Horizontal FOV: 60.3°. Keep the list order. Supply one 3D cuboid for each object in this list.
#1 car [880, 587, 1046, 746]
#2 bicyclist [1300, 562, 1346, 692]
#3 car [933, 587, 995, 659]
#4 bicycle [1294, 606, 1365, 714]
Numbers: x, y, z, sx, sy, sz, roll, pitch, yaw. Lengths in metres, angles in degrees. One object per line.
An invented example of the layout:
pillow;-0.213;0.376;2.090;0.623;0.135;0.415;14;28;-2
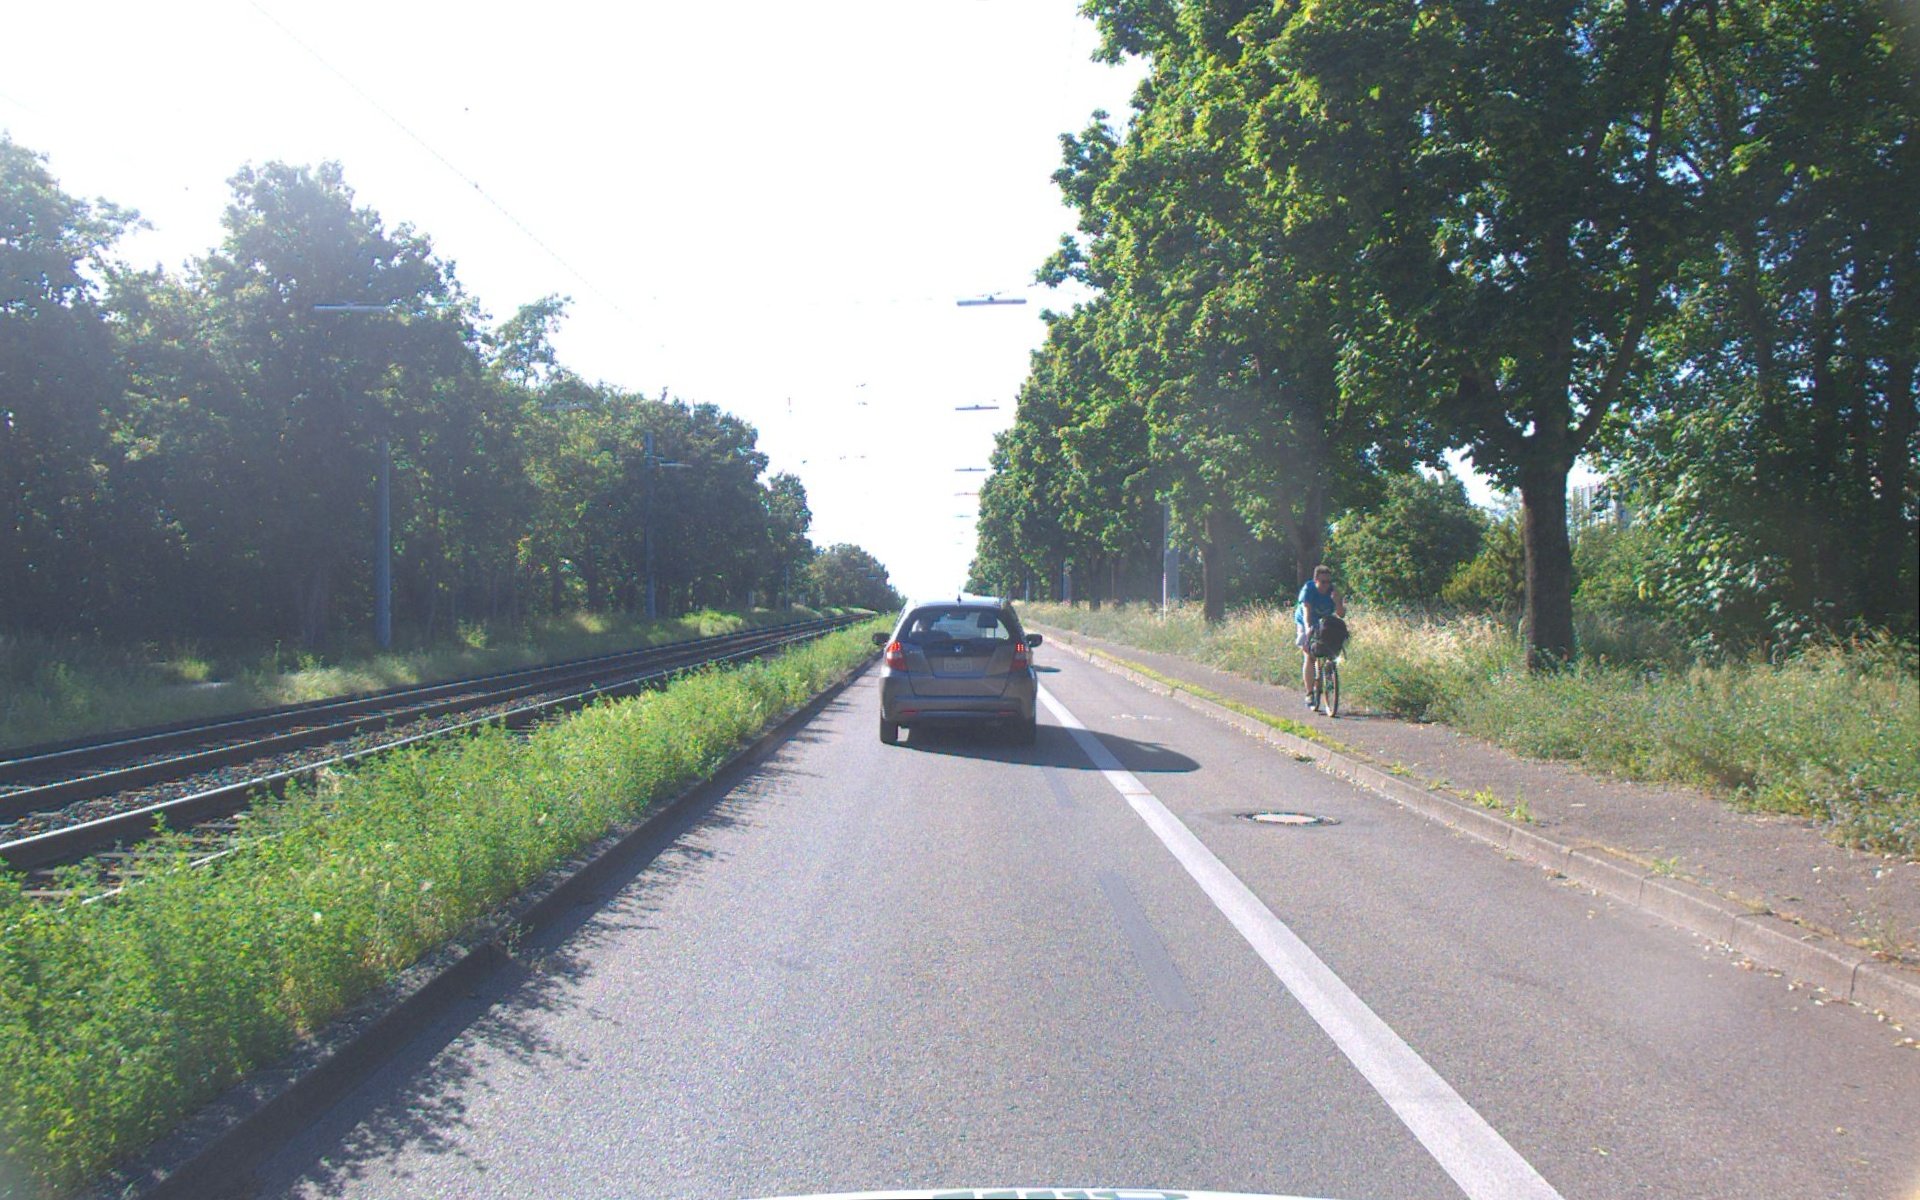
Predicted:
car;-0.012;0.650;18.380;1.637;1.542;3.673;1;1;-1
bicyclist;4.364;0.316;19.892;0.397;1.533;0.574;-1;0;-1
car;0.104;0.524;37.837;1.323;1.554;3.123;-1;-1;1
bicycle;4.371;0.687;19.653;0.410;1.209;1.721;-1;0;-1
